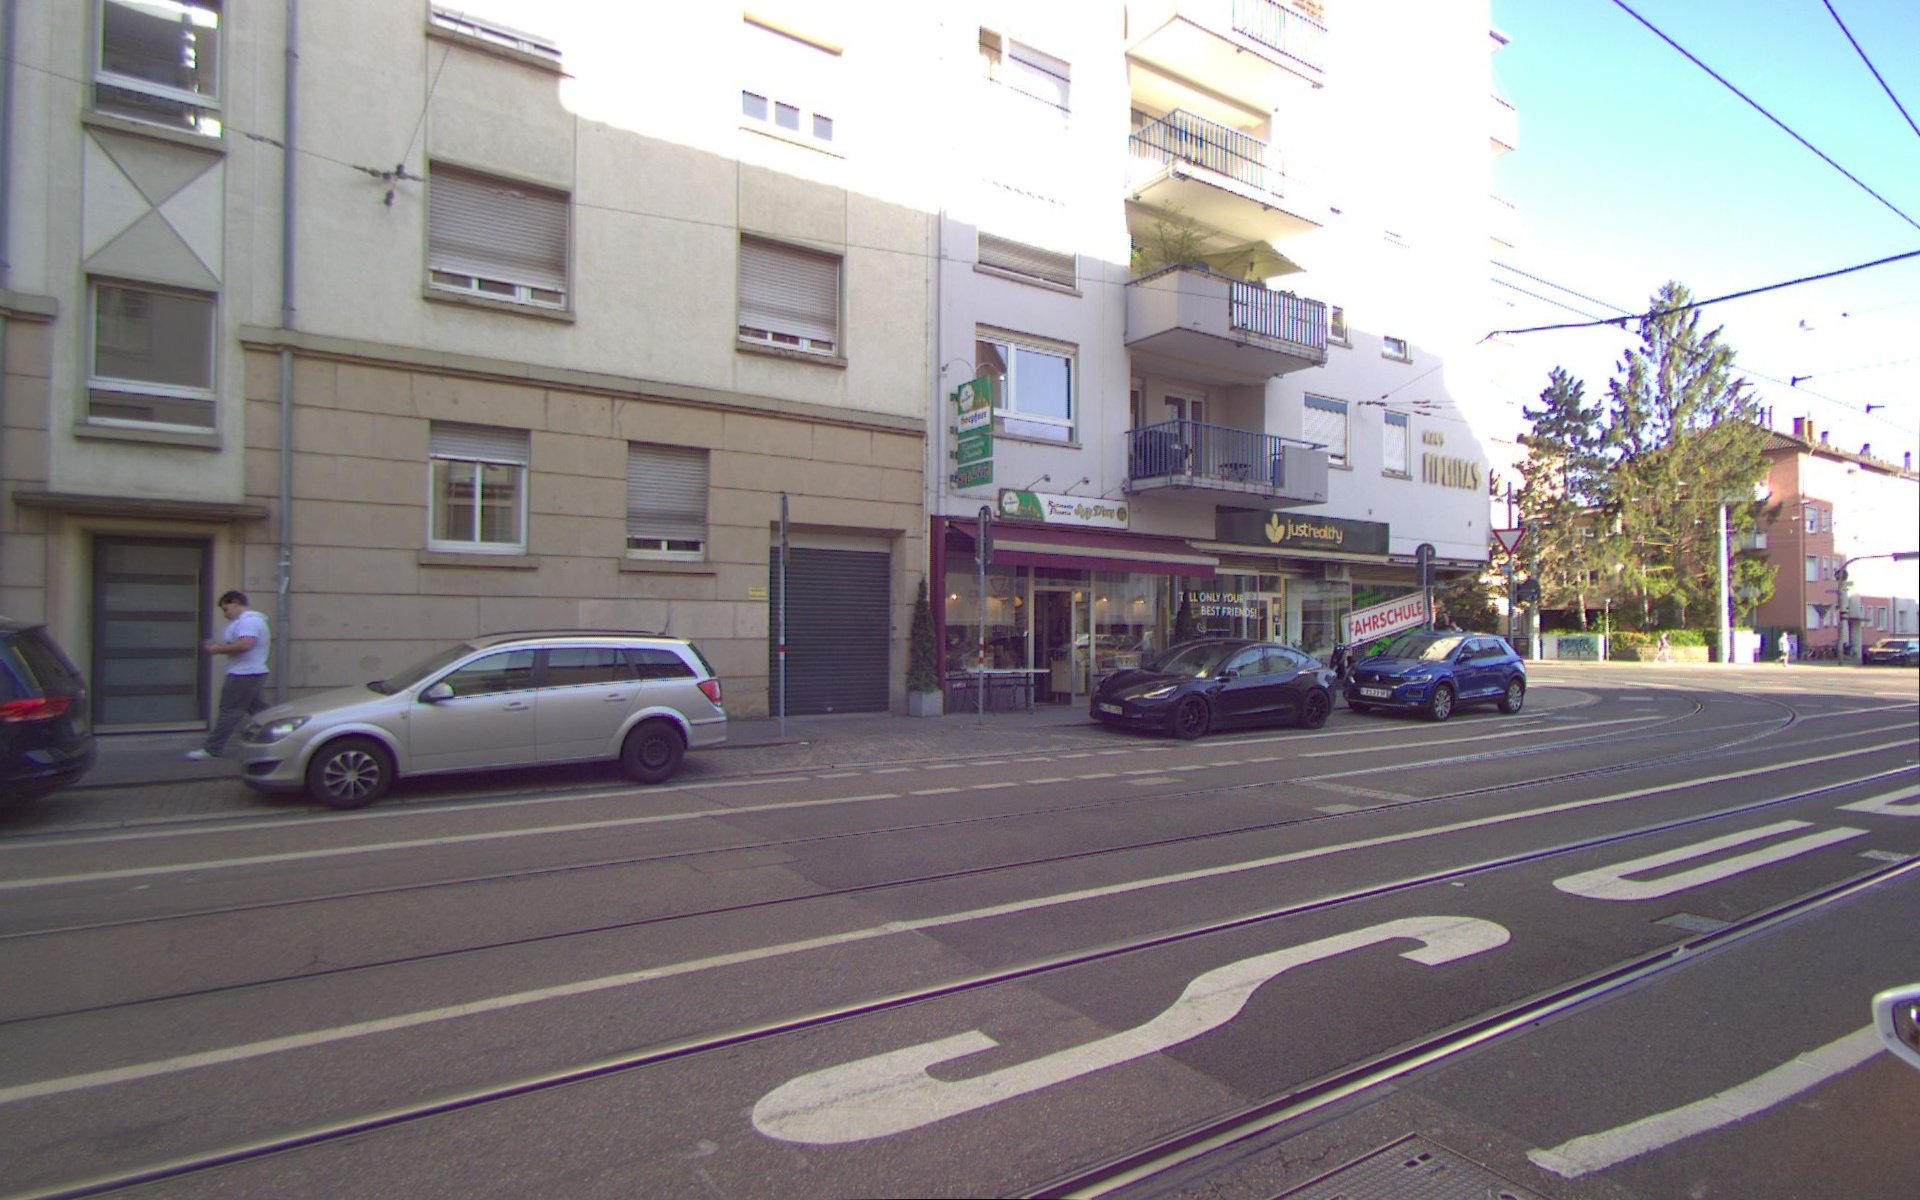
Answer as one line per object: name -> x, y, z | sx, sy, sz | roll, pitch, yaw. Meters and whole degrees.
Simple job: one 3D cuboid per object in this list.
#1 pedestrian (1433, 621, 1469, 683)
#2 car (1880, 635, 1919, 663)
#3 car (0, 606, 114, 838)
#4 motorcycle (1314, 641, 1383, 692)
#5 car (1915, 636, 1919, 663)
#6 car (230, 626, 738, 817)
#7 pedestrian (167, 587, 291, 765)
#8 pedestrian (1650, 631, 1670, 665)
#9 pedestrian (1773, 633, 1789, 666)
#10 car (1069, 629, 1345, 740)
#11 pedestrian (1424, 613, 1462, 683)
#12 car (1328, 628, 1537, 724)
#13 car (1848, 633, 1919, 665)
pedestrian -> 14.670, 1.535, 30.016 | 0.653, 1.816, 0.733 | 1, -1, -27
car -> 53.874, 2.785, 56.636 | 4.057, 1.456, 1.893 | 2, 0, -32
car -> -8.969, 0.860, 7.159 | 4.282, 1.655, 1.802 | 2, 1, -35
motorcycle -> 9.246, 1.566, 23.894 | 1.778, 1.149, 0.603 | 2, 0, -34
car -> 58.246, 2.970, 59.358 | 4.185, 1.546, 1.731 | 2, 0, -34
car -> -4.623, 1.063, 10.119 | 4.327, 1.474, 1.714 | 2, 1, -35
pedestrian -> -7.781, 0.773, 10.700 | 0.998, 1.791, 0.656 | 2, 0, -40
pedestrian -> 36.792, 2.497, 52.782 | 0.772, 1.744, 0.702 | 2, 0, 37
pedestrian -> 41.026, 2.475, 50.225 | 0.509, 1.589, 0.572 | 2, 0, 32
car -> 4.012, 1.267, 16.060 | 4.398, 1.494, 1.759 | 2, 0, -33
pedestrian -> 13.697, 1.352, 28.472 | 0.727, 1.925, 0.573 | 3, -2, -15
car -> 9.028, 1.343, 19.069 | 4.196, 1.524, 1.757 | 0, 1, -36
car -> 49.737, 2.646, 53.892 | 4.397, 1.450, 2.140 | 4, -1, -35
